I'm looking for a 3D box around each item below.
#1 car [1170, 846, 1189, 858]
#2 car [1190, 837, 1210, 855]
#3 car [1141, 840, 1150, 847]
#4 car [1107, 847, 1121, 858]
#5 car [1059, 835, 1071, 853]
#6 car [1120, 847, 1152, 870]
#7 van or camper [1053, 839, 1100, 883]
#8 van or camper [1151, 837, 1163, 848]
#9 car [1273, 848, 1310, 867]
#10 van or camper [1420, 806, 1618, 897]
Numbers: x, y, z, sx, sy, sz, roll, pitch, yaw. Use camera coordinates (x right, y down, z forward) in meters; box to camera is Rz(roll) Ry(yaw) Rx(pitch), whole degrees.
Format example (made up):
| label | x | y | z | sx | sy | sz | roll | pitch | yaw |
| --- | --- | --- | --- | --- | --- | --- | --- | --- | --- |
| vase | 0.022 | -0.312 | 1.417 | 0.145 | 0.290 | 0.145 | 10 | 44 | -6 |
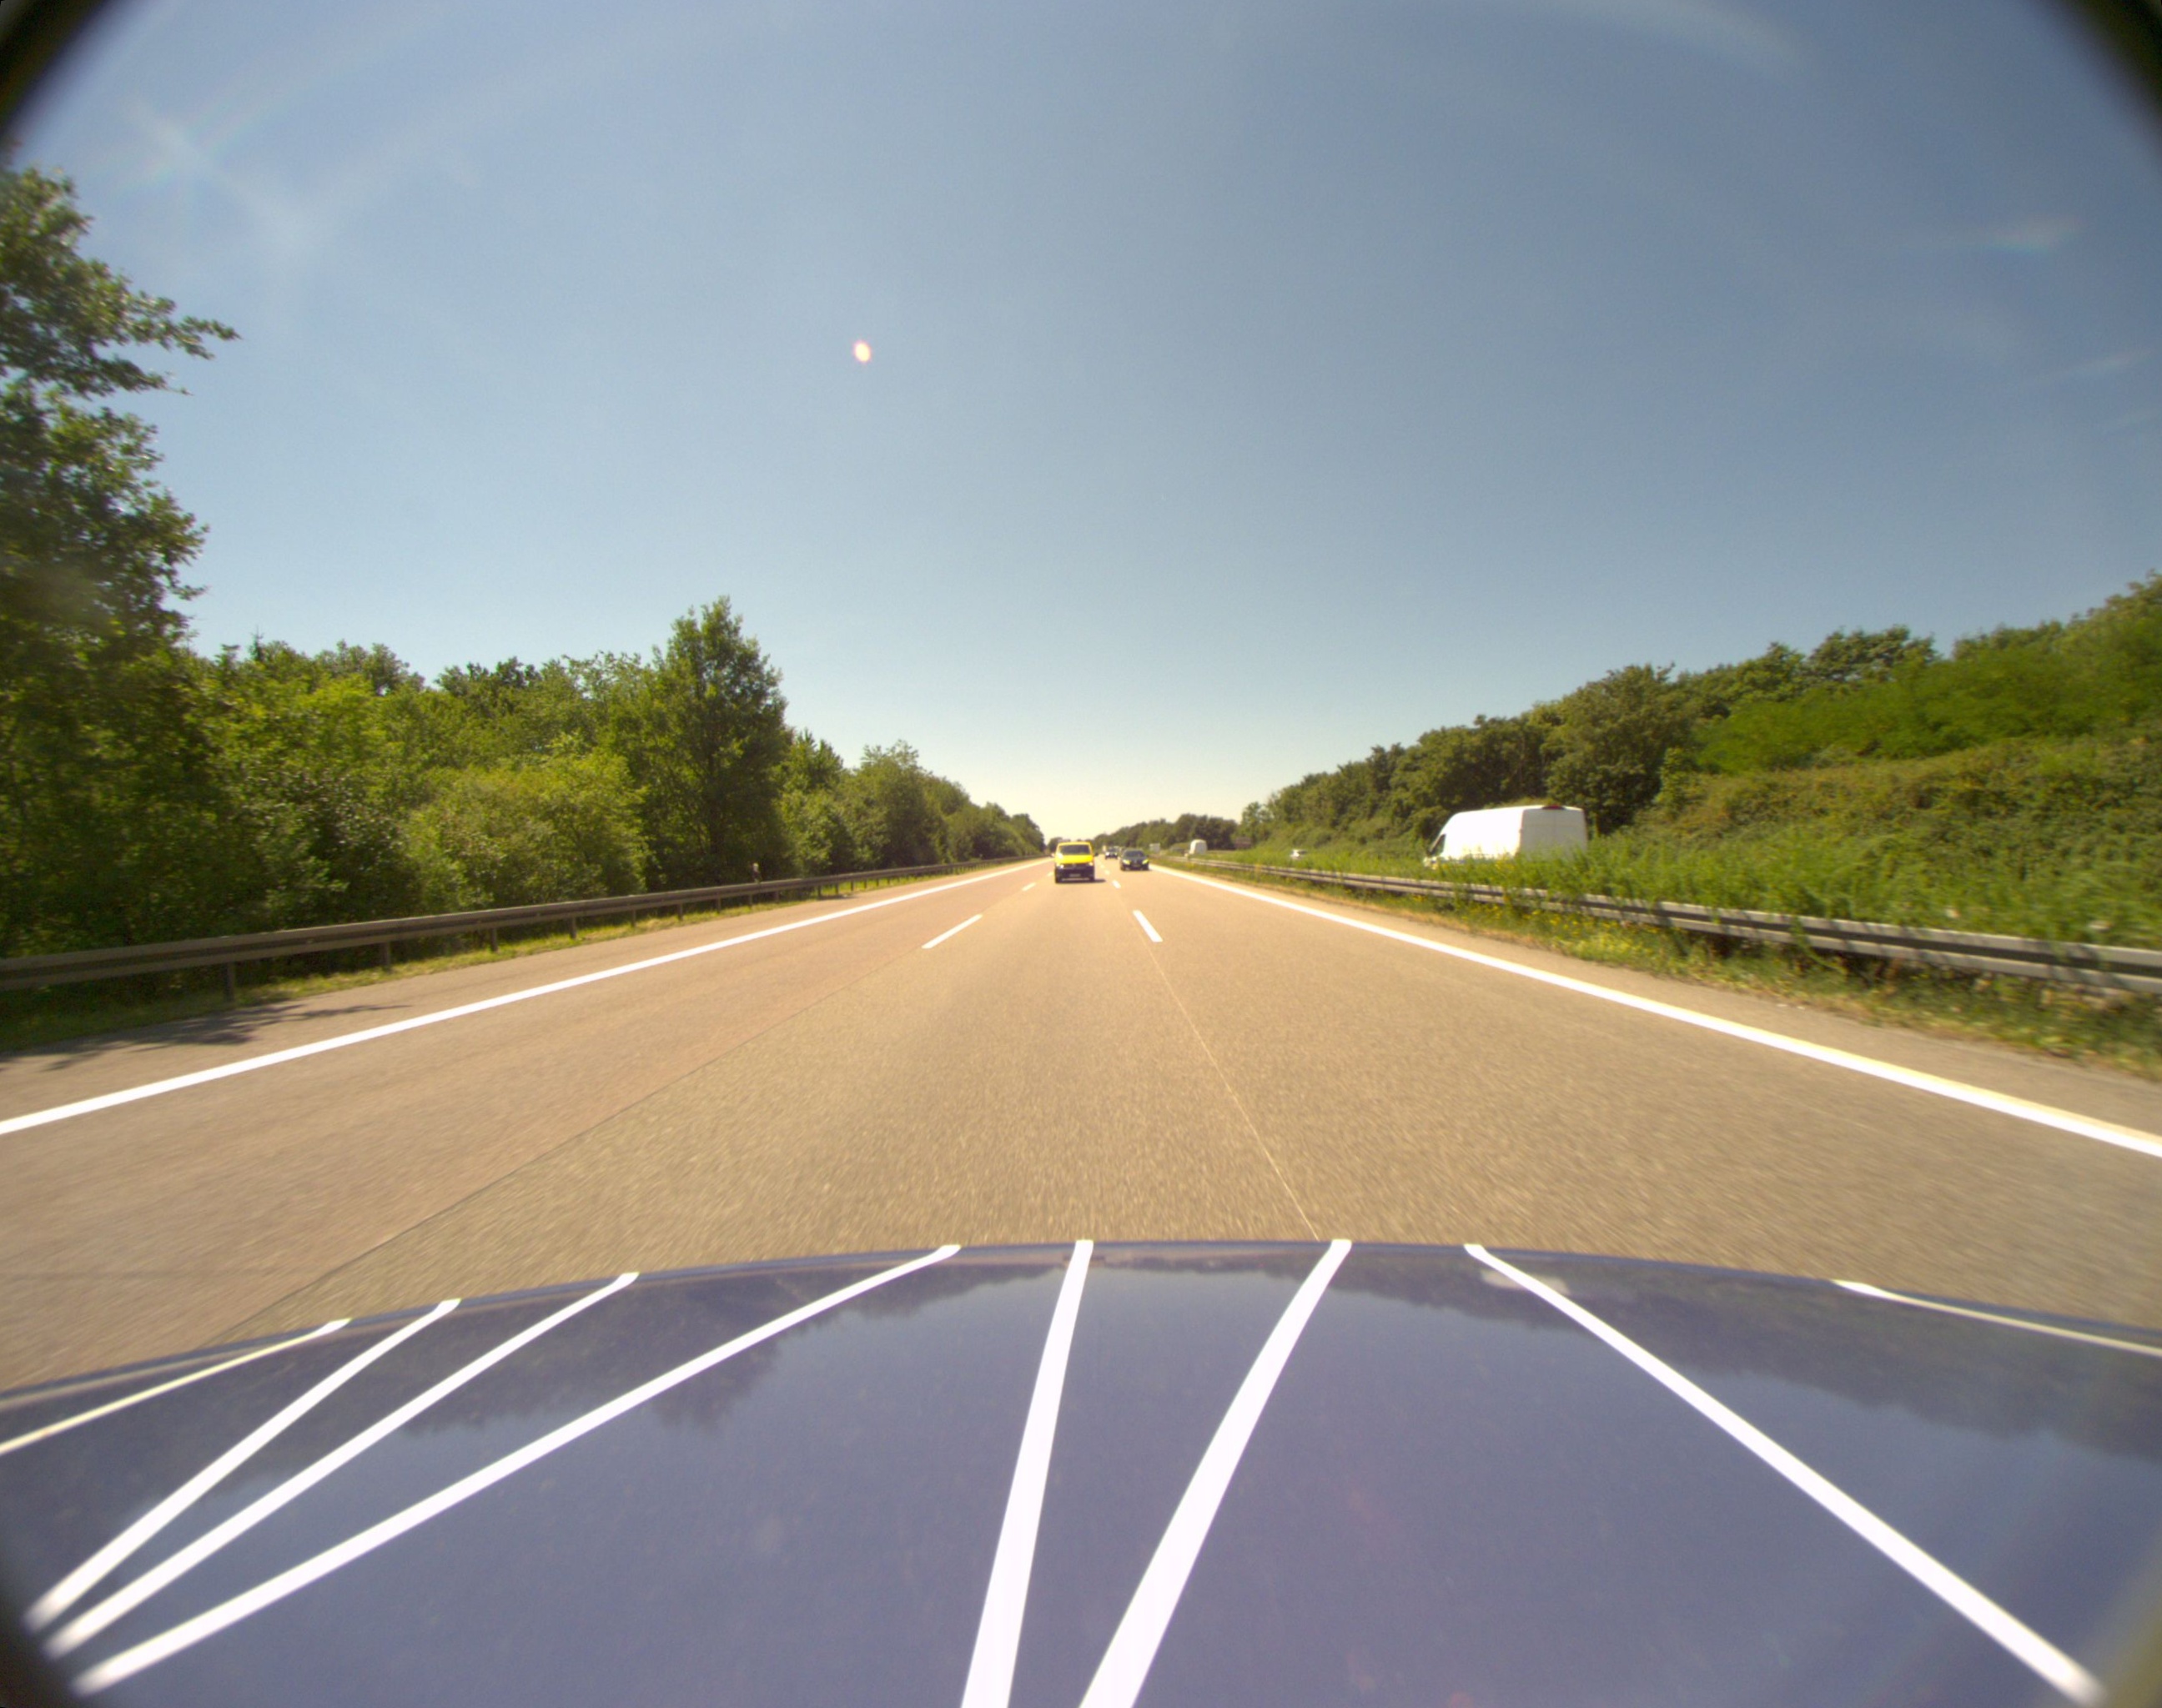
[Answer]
| label | x | y | z | sx | sy | sz | roll | pitch | yaw |
| --- | --- | --- | --- | --- | --- | --- | --- | --- | --- |
| car | 13.837 | -0.296 | 107.207 | 1.998 | 1.558 | 5.043 | 0 | 1 | 0 |
| car | 17.967 | -1.206 | 114.788 | 2.041 | 2.731 | 6.657 | 1 | 1 | 0 |
| car | 19.911 | -3.134 | 234.302 | 2.288 | 2.174 | 5.945 | -1 | 1 | 1 |
| car | 4.853 | -0.210 | 111.881 | 1.894 | 1.541 | 4.039 | 1 | 1 | 0 |
| car | -3.443 | -2.235 | 166.592 | 2.298 | 3.886 | 9.268 | 1 | 1 | 0 |
| car | 3.806 | 0.269 | 53.182 | 1.894 | 1.541 | 4.039 | 1 | 1 | 0 |
| van or camper | -0.114 | 0.302 | 37.611 | 2.063 | 1.992 | 5.884 | -1 | 1 | 2 |
| van or camper | 21.580 | -3.158 | 215.557 | 2.612 | 2.985 | 7.755 | -1 | 1 | 1 |
| car | 18.324 | 0.276 | 66.337 | 1.945 | 1.499 | 4.448 | -2 | 1 | 0 |
| van or camper | 13.122 | -0.101 | 23.462 | 2.431 | 2.352 | 6.335 | -2 | 1 | 0 |
